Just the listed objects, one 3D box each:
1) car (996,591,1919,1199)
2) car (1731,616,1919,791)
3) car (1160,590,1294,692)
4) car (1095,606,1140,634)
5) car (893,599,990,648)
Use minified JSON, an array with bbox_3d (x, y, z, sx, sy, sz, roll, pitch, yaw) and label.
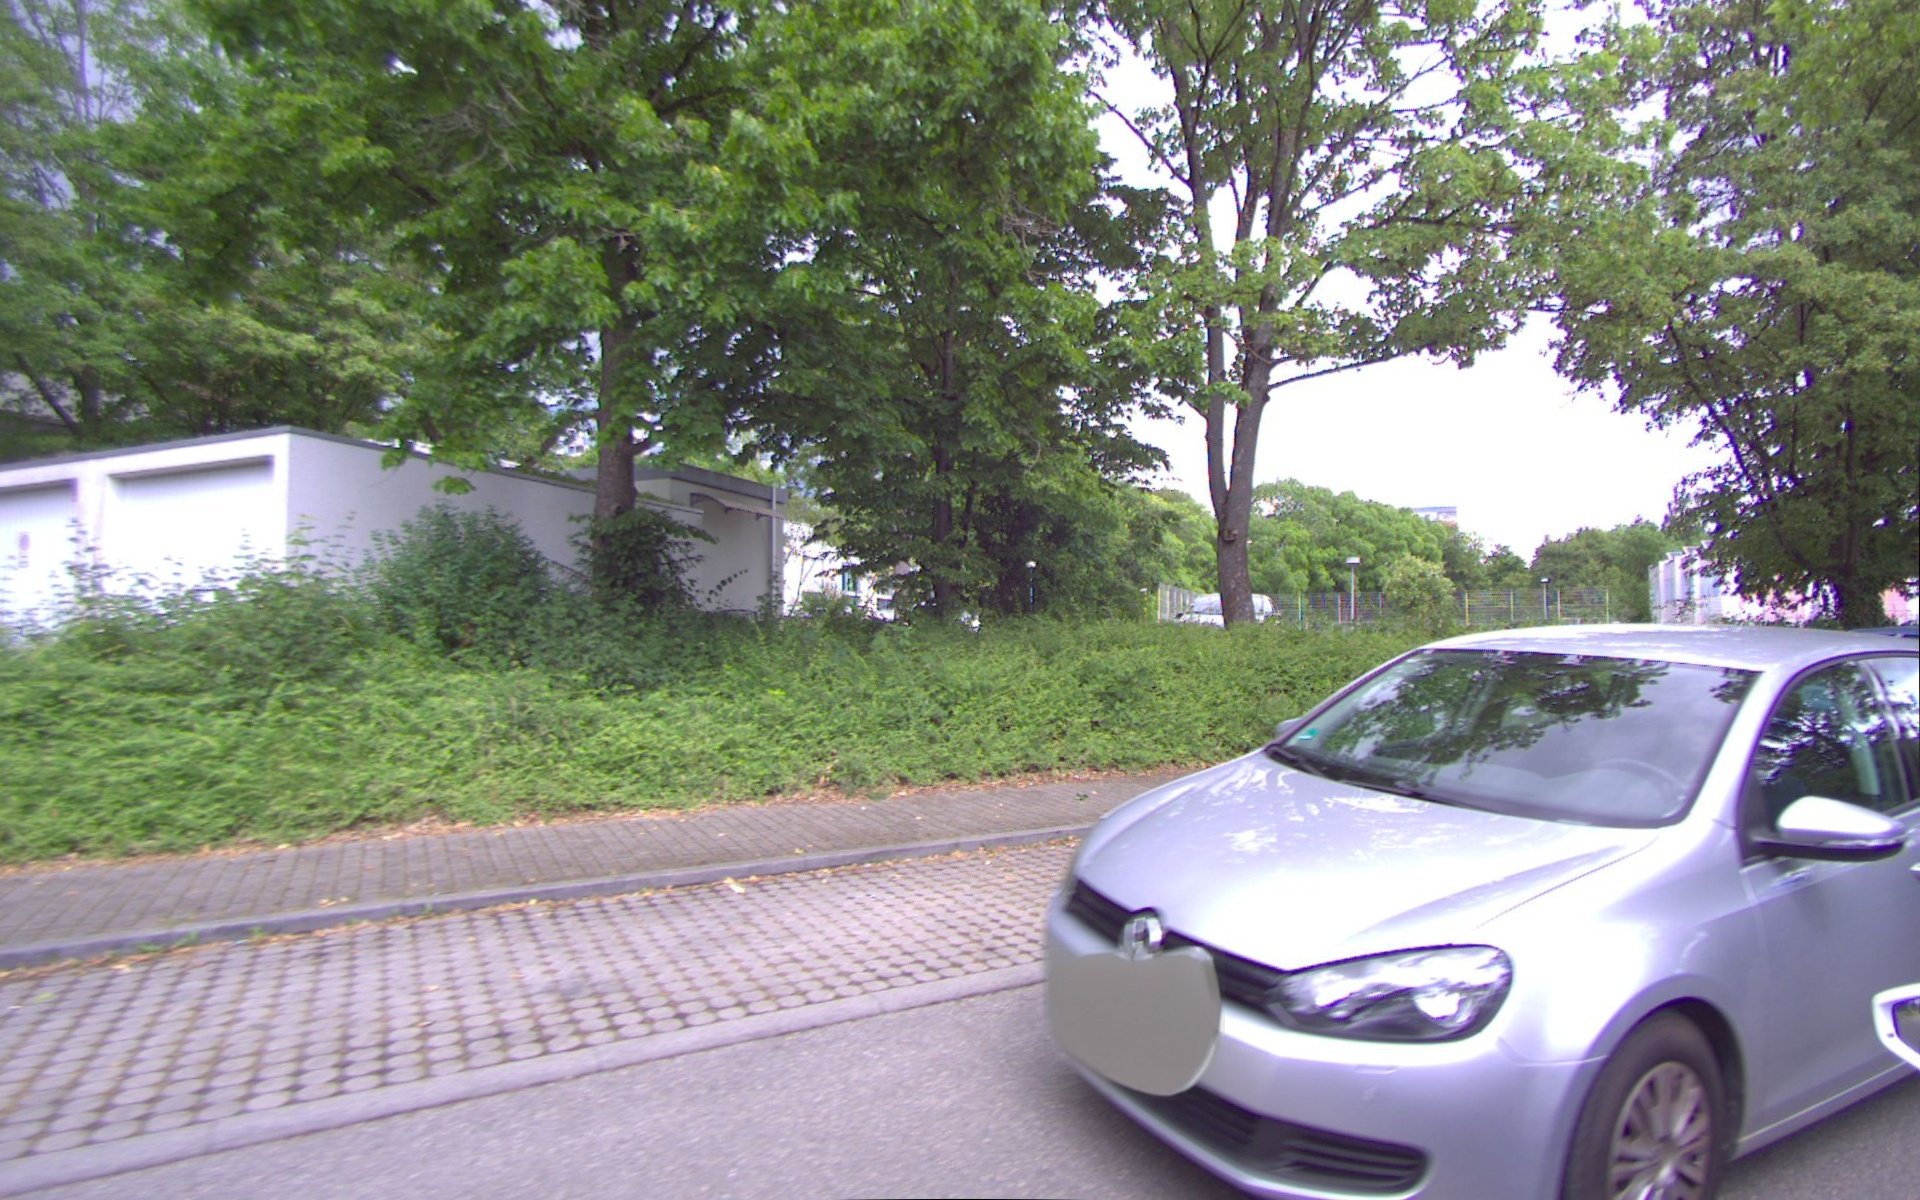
[{"bbox_3d":[2.277,0.761,3.486,4.011,1.482,1.669,1,0,-28],"label":"car"},{"bbox_3d":[9.470,0.928,9.914,3.672,1.478,1.528,1,-2,-27],"label":"car"},{"bbox_3d":[4.971,0.677,18.332,1.713,1.643,3.870,-1,-1,25],"label":"car"},{"bbox_3d":[10.006,1.299,63.477,1.961,1.706,3.999,-1,-2,22],"label":"car"},{"bbox_3d":[-0.547,0.780,32.976,1.755,1.461,3.617,3,-1,24],"label":"car"}]
